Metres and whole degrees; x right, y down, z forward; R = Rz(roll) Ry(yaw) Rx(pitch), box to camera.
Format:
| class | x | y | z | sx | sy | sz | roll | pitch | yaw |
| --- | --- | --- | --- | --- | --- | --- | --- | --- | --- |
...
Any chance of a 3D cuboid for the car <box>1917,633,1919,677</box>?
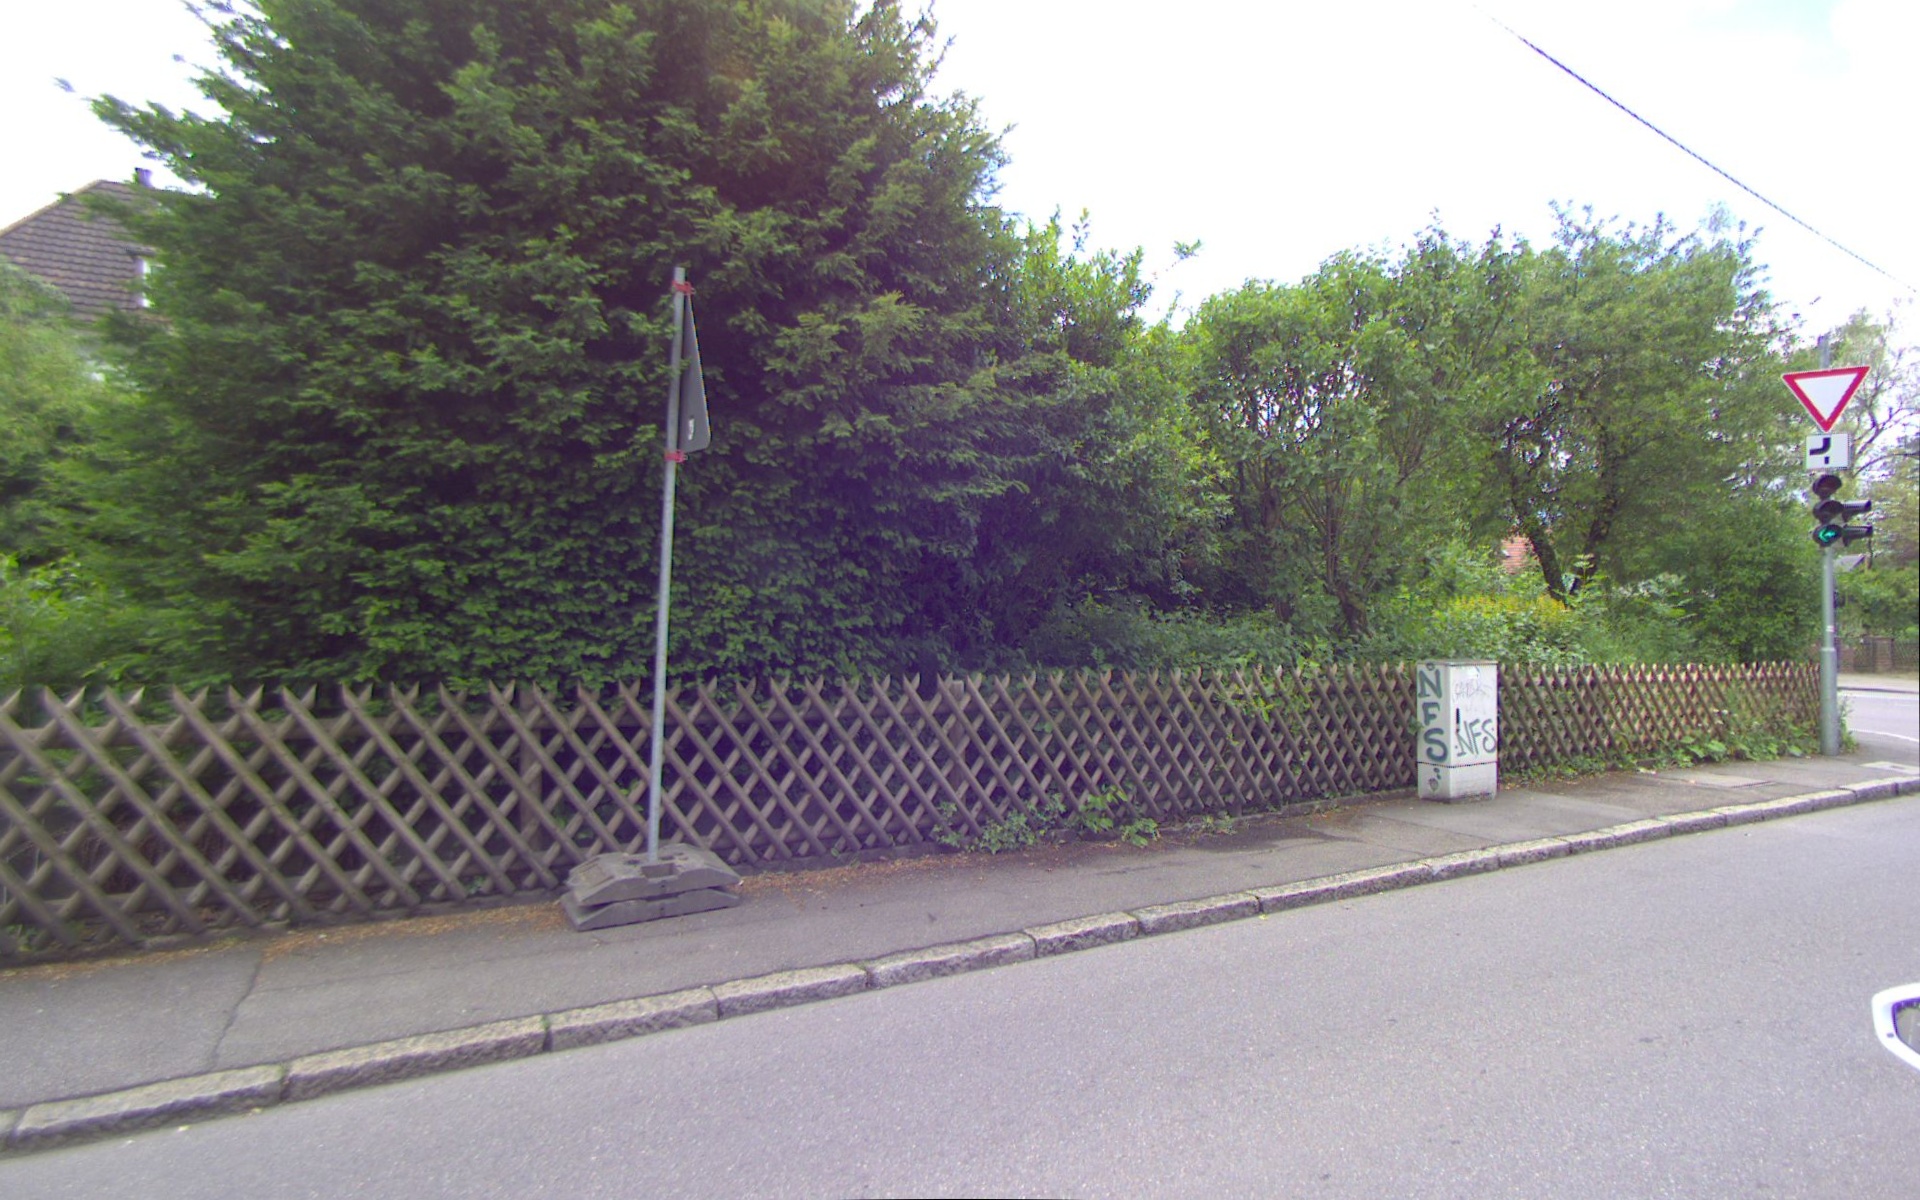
| class | x | y | z | sx | sy | sz | roll | pitch | yaw |
| --- | --- | --- | --- | --- | --- | --- | --- | --- | --- |
| car | 33.776 | 1.902 | 32.931 | 3.480 | 1.468 | 1.699 | 2 | 1 | -10 |
